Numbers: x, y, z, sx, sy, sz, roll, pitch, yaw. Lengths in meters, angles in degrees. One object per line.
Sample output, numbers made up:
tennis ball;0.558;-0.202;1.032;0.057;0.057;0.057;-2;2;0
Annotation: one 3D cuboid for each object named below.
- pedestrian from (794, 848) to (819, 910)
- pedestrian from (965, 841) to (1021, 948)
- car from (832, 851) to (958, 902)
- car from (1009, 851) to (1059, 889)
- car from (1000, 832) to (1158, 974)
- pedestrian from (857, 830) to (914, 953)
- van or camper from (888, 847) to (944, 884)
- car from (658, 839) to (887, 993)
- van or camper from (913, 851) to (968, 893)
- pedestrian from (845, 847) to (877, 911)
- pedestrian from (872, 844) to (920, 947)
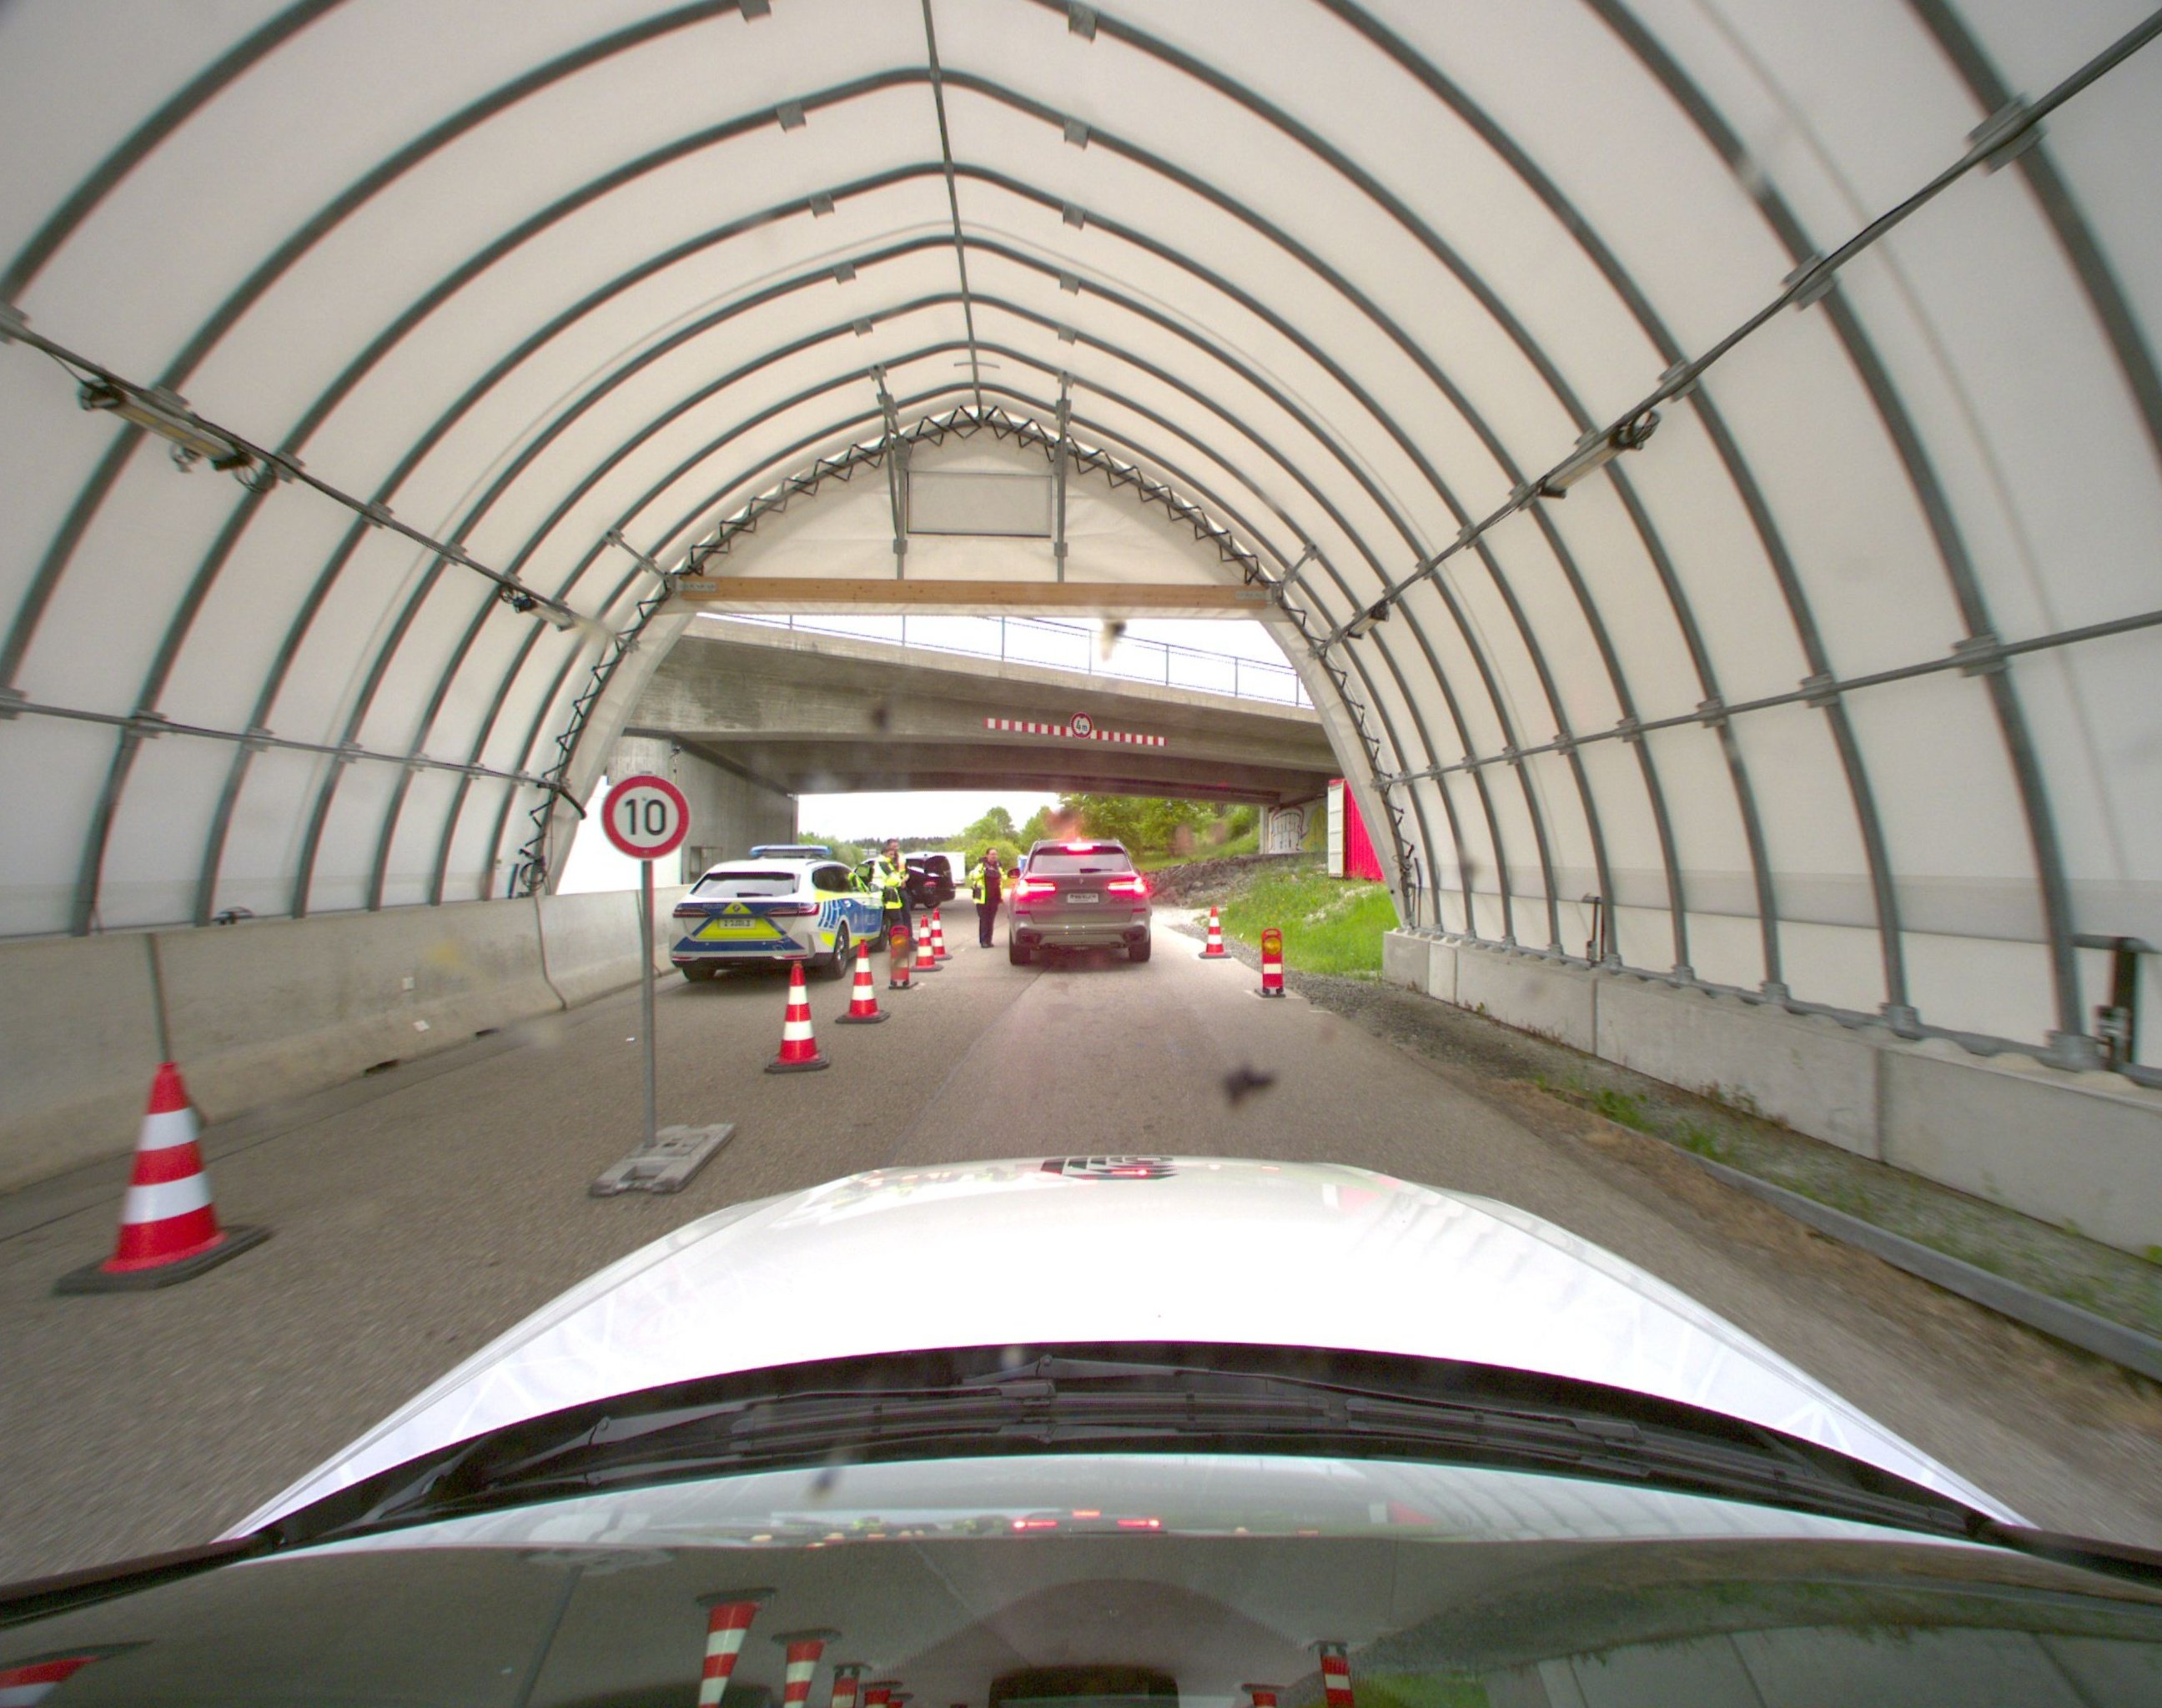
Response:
pedestrian;-9.093;0.815;26.996;0.624;2.013;0.654;-2;0;-7
pedestrian;-1.484;0.660;13.682;0.781;1.722;0.752;-2;0;-16
car;-7.778;0.931;34.151;4.769;2.013;1.849;-2;0;16
car;-3.094;1.006;52.616;2.002;2.346;3.969;-1;0;-23
car;-0.020;0.632;12.516;1.987;1.765;3.999;-2;0;0
pedestrian;-3.158;0.591;13.216;0.748;1.919;0.761;-2;0;-6
van or camper;-12.134;0.826;59.588;2.119;2.519;5.493;-1;0;-33
car;-3.916;0.702;11.107;1.875;1.646;3.992;-2;0;-6
van or camper;-9.393;1.152;53.916;2.239;2.552;6.562;-2;0;-22
pedestrian;-7.001;0.781;25.893;0.685;2.014;0.705;-2;-1;11
pedestrian;-3.234;0.708;14.255;0.606;1.754;0.666;-2;0;3
